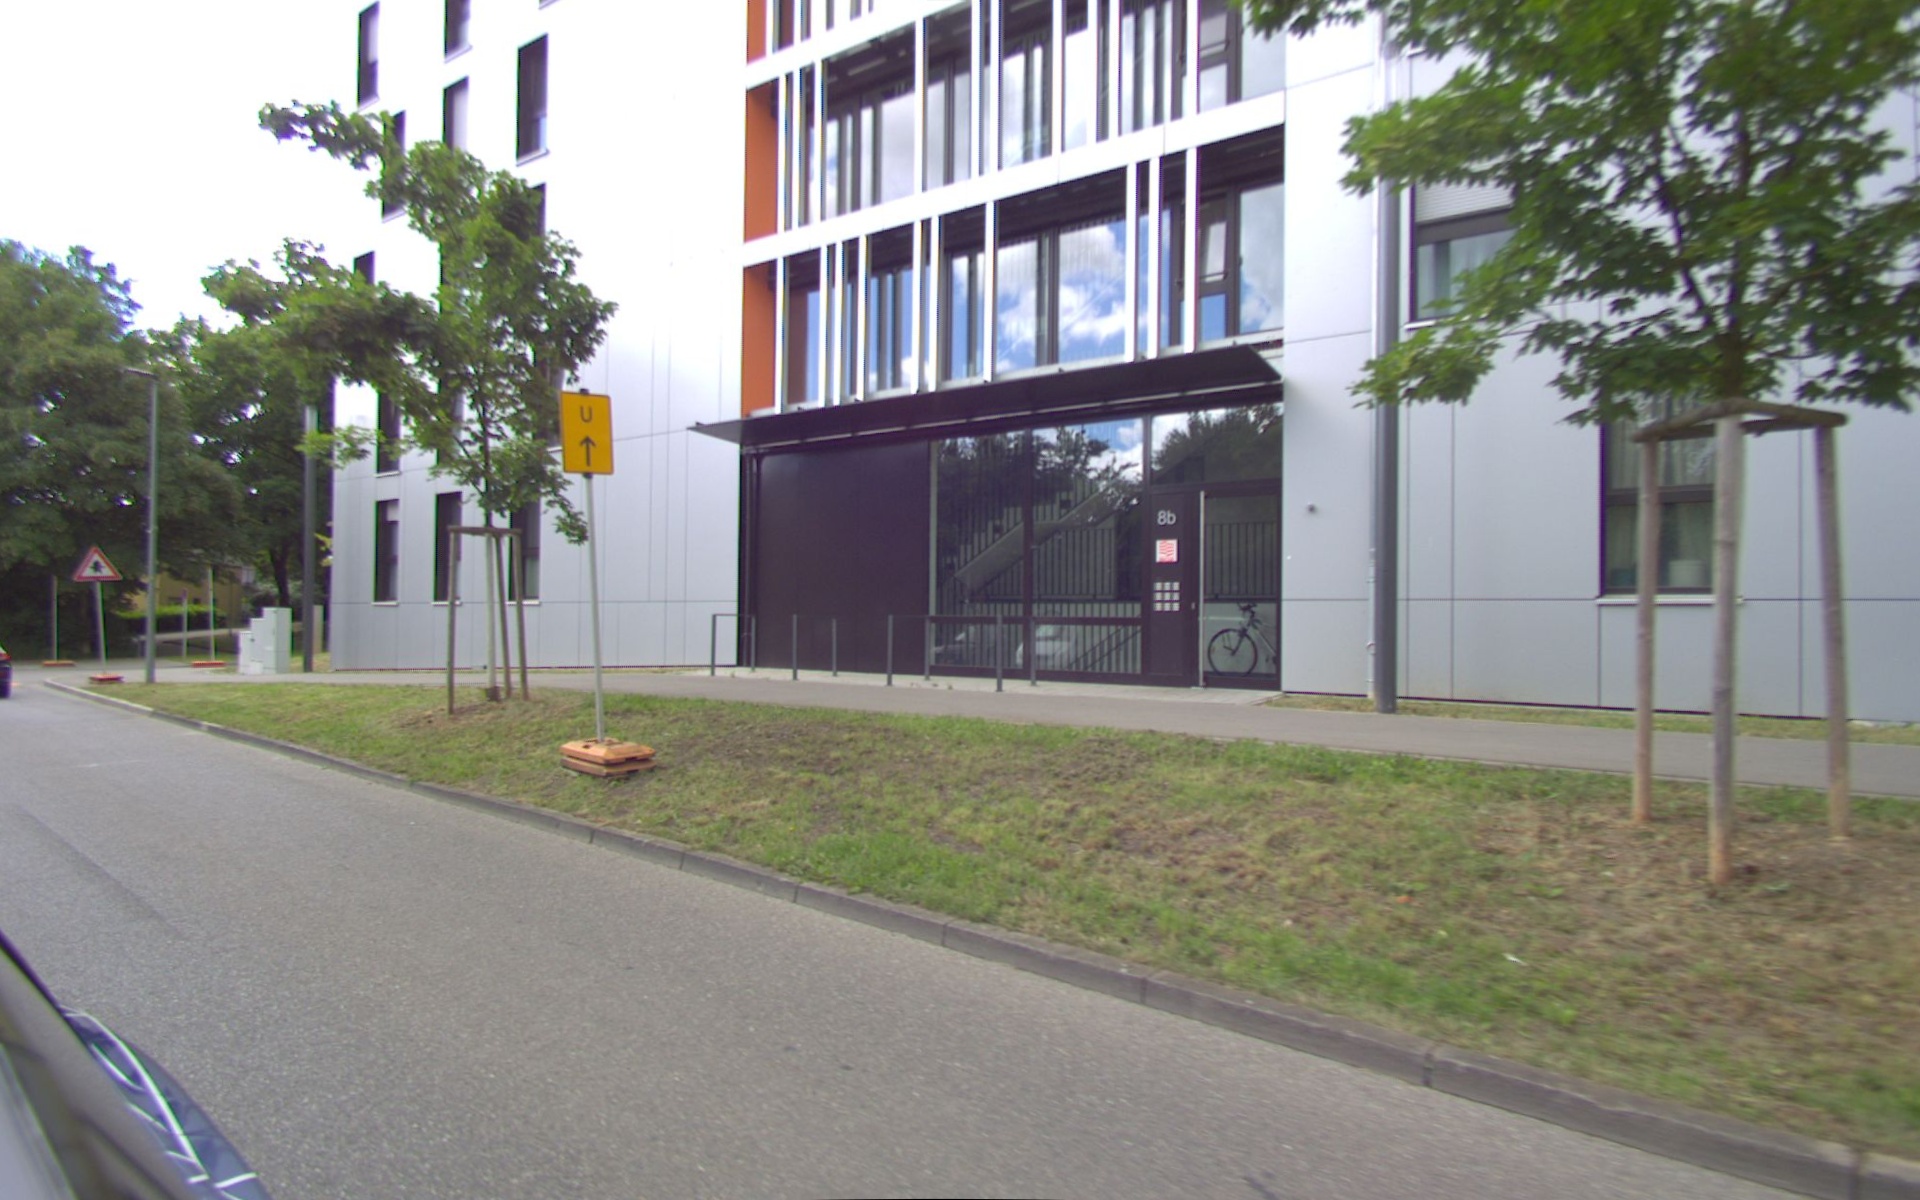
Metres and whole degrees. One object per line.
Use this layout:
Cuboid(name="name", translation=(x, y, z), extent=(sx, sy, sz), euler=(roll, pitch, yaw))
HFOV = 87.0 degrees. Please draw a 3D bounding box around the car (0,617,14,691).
Cuboid(name="car", translation=(-20.302, 1.055, 20.030), extent=(3.993, 1.402, 1.654), euler=(-1, 0, 37))
